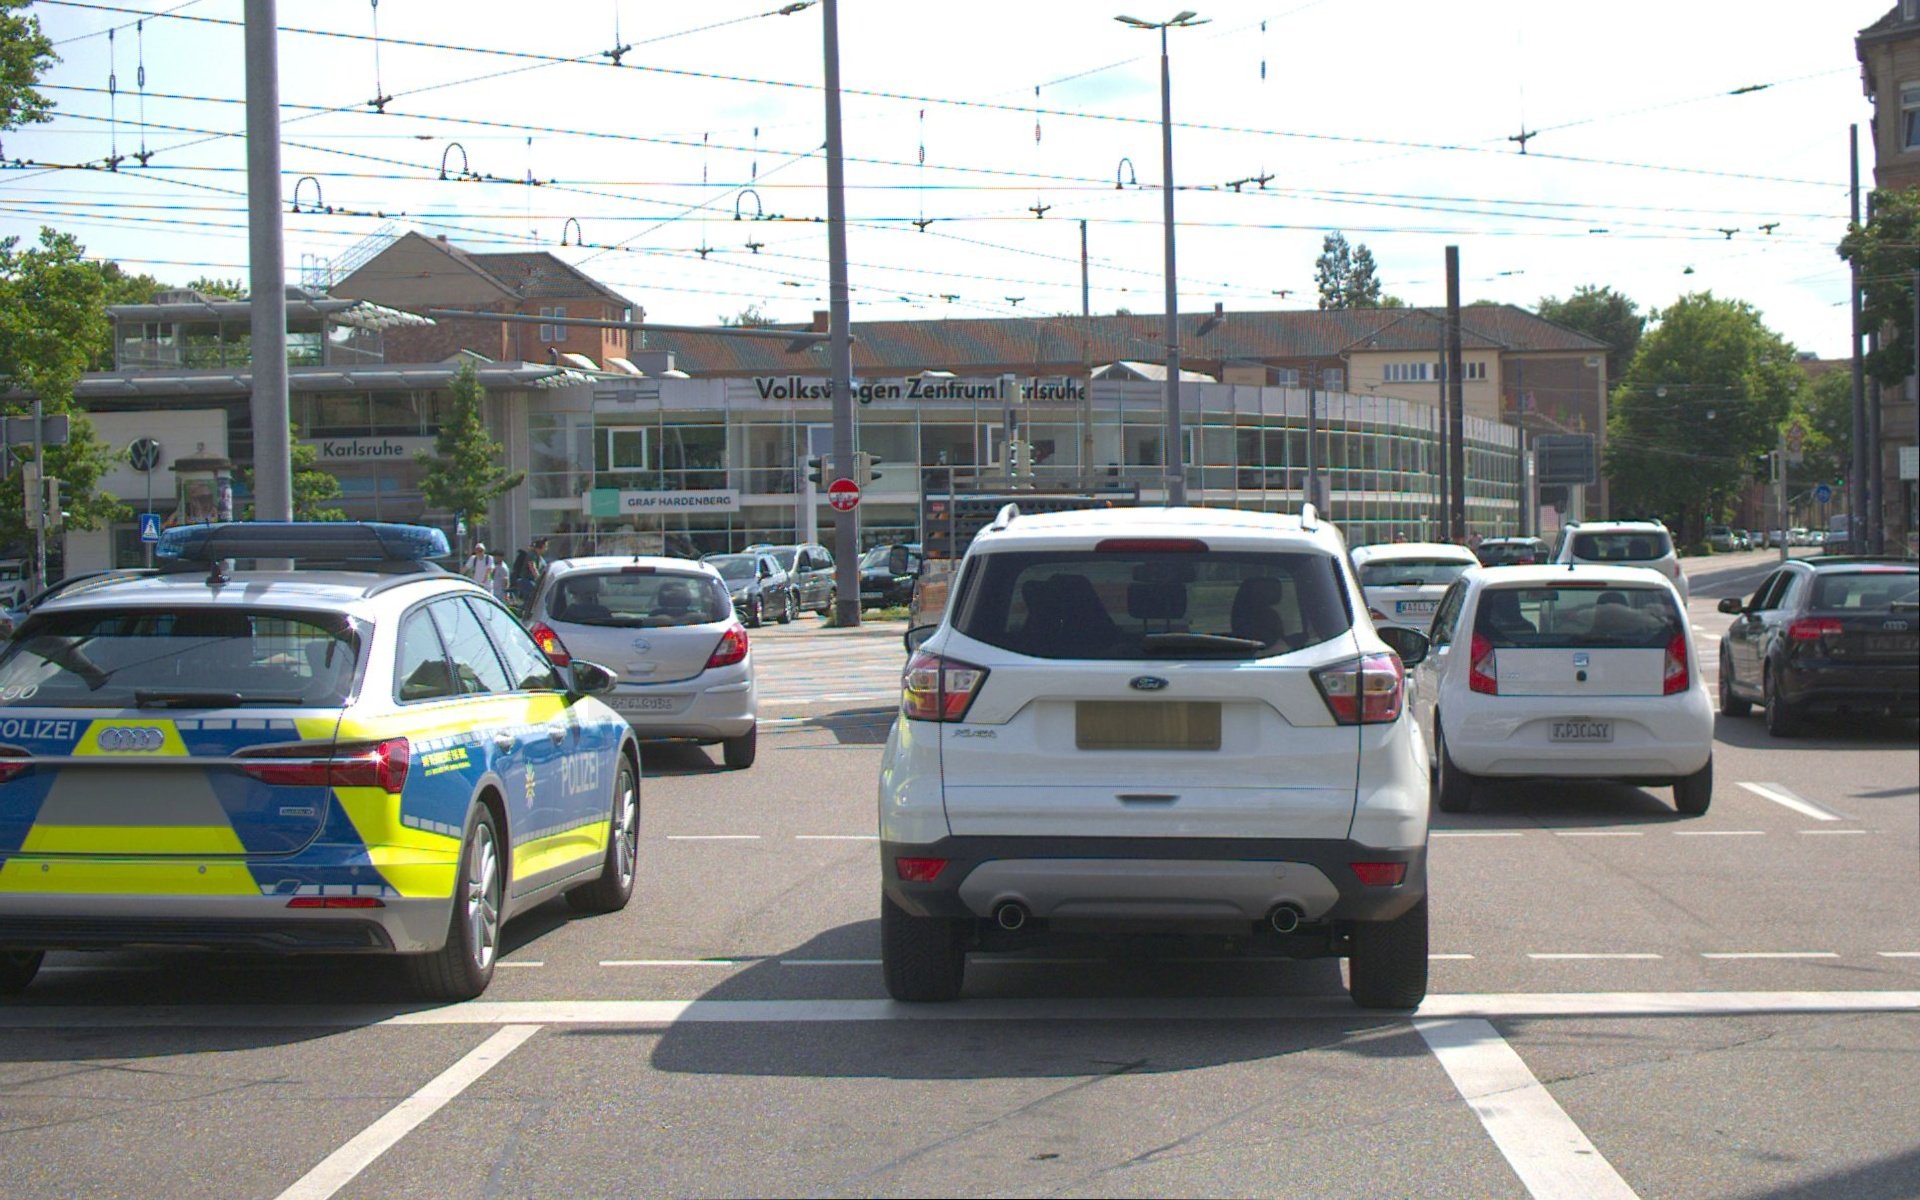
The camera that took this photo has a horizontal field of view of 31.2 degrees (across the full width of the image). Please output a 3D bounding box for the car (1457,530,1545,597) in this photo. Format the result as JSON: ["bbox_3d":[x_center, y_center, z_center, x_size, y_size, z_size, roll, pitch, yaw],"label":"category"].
[{"bbox_3d":[11.810,-0.800,74.914,1.850,1.414,3.677,0,0,10],"label":"car"}]

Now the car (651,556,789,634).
[{"bbox_3d":[-4.614,-0.118,66.501,1.738,1.368,3.640,-2,1,11],"label":"car"}]

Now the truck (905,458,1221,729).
[{"bbox_3d":[0.785,-0.083,30.499,2.338,2.148,5.852,0,1,-3],"label":"truck"}]

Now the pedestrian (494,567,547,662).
[{"bbox_3d":[-8.095,0.269,63.249,0.923,1.738,0.589,1,0,-9],"label":"pedestrian"}]

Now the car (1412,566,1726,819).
[{"bbox_3d":[3.789,0.515,21.913,1.649,1.417,3.999,0,1,5],"label":"car"}]

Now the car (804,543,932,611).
[{"bbox_3d":[-2.136,-0.561,81.023,1.627,1.456,3.965,-2,1,20],"label":"car"}]

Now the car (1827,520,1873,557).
[{"bbox_3d":[40.695,-2.804,157.123,1.838,1.646,3.997,0,0,17],"label":"car"}]

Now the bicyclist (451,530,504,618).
[{"bbox_3d":[-9.411,-0.509,67.049,0.760,1.677,0.760,-2,1,12],"label":"bicyclist"}]

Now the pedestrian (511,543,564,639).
[{"bbox_3d":[-7.681,-0.167,62.506,0.923,1.738,0.589,1,0,-9],"label":"pedestrian"}]

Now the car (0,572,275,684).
[{"bbox_3d":[-10.901,0.350,43.811,3.992,1.372,1.740,0,0,24],"label":"car"}]

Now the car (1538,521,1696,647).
[{"bbox_3d":[8.909,-0.213,46.856,1.837,1.646,3.999,0,0,7],"label":"car"}]

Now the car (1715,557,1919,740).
[{"bbox_3d":[7.373,0.352,28.603,1.699,1.367,4.132,-1,1,7],"label":"car"}]

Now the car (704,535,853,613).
[{"bbox_3d":[-3.907,-0.578,74.612,1.739,1.568,3.996,-2,1,20],"label":"car"}]

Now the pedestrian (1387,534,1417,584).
[{"bbox_3d":[17.199,-1.597,133.706,0.876,1.916,0.875,1,0,31],"label":"pedestrian"}]

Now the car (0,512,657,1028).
[{"bbox_3d":[-2.439,0.531,12.854,1.880,1.563,4.614,-1,0,4],"label":"car"}]

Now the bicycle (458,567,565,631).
[{"bbox_3d":[-7.999,-0.015,61.354,1.779,1.121,0.639,0,1,5],"label":"bicycle"}]

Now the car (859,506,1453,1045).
[{"bbox_3d":[0.633,0.524,12.590,1.827,1.658,3.955,0,0,1],"label":"car"}]

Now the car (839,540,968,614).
[{"bbox_3d":[-1.182,-0.507,74.062,1.690,1.456,3.966,-2,1,15],"label":"car"}]

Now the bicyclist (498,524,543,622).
[{"bbox_3d":[-7.836,-0.491,61.315,0.660,1.732,0.639,0,1,5],"label":"bicyclist"}]

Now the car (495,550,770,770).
[{"bbox_3d":[-2.470,0.378,25.506,1.847,1.469,4.001,-1,1,-7],"label":"car"}]

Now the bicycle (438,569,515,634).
[{"bbox_3d":[-9.411,0.018,66.996,0.760,1.188,2.149,-2,1,12],"label":"bicycle"}]

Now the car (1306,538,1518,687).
[{"bbox_3d":[4.490,0.107,34.610,1.850,1.414,3.678,0,0,3],"label":"car"}]
